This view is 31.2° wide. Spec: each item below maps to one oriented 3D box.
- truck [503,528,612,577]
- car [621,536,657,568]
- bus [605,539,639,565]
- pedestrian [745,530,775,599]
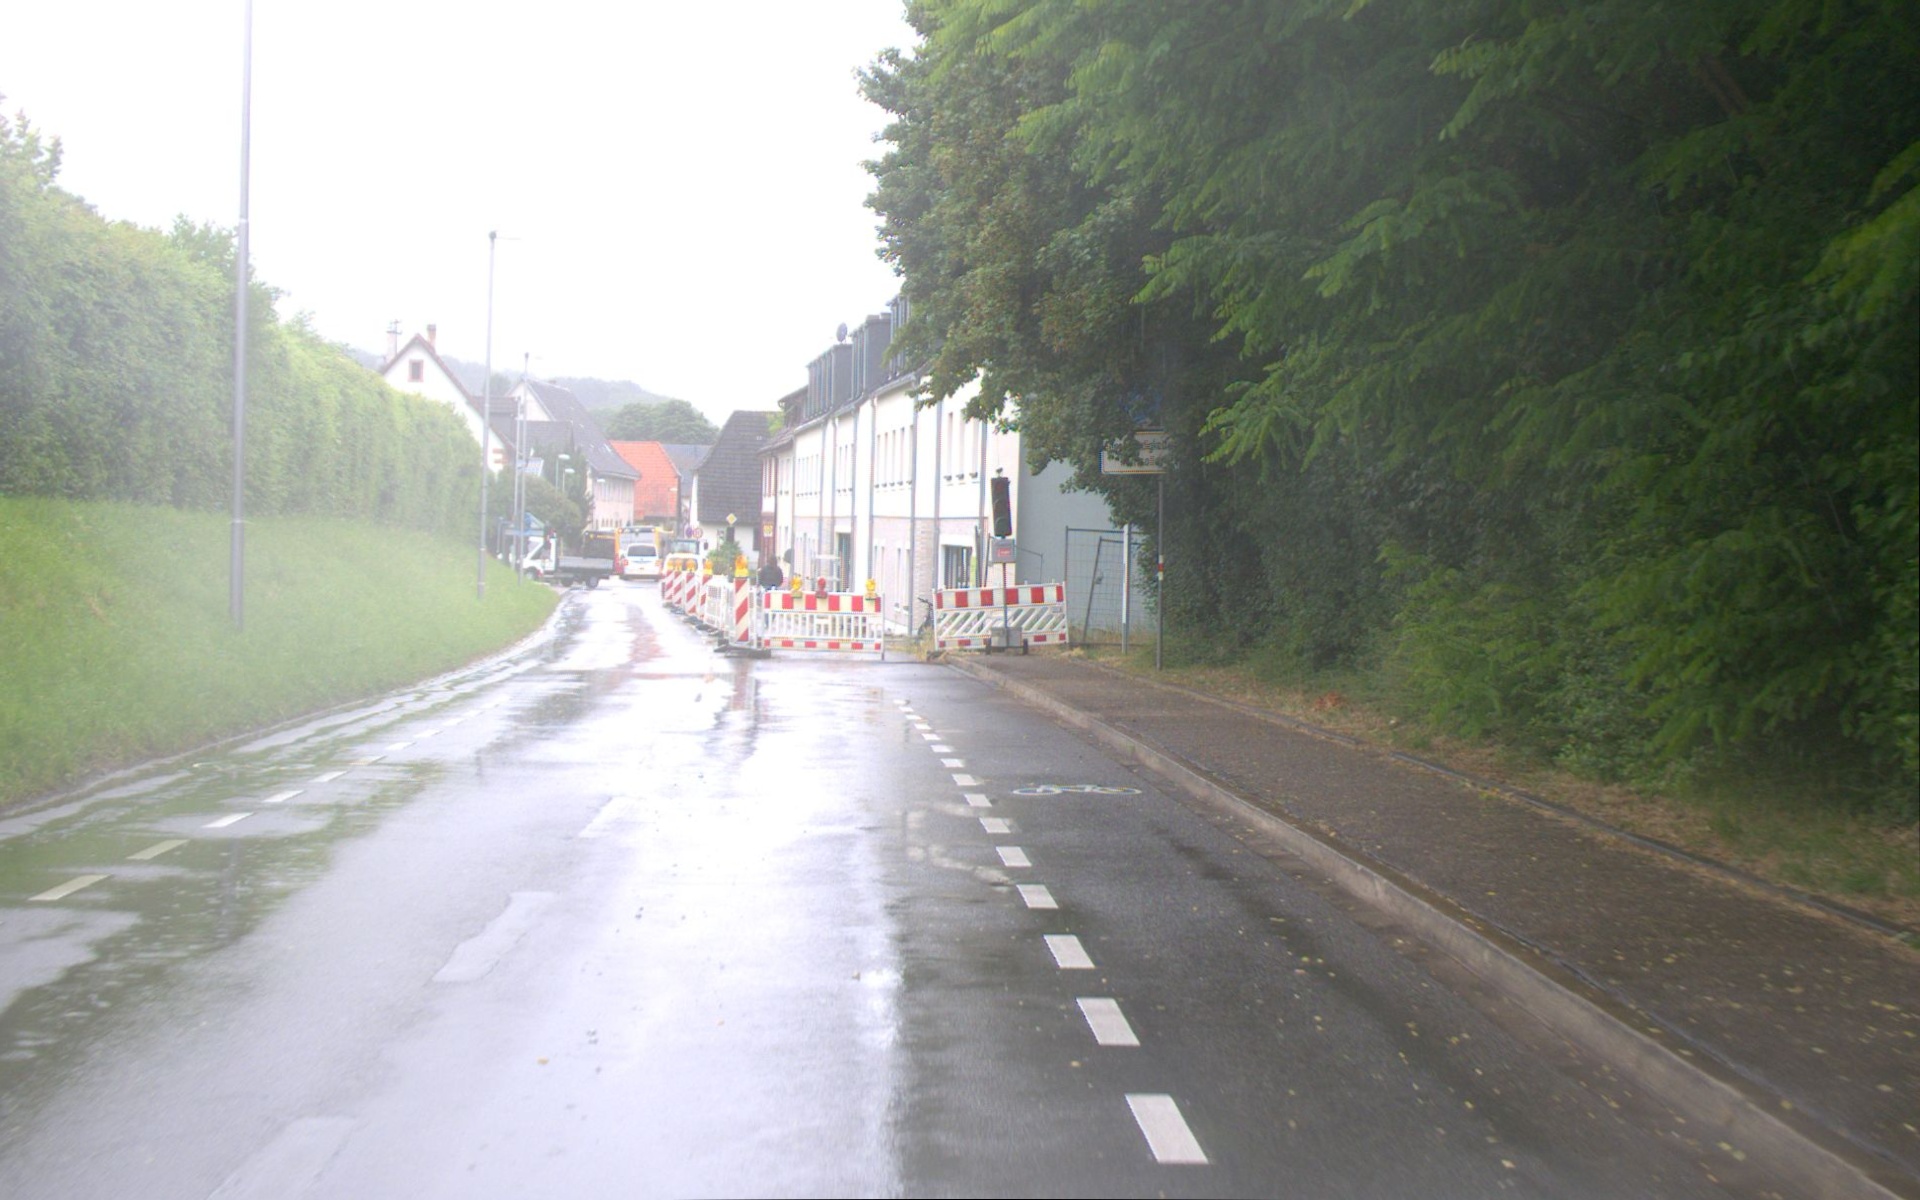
[{"bbox_3d":[-18.608,-2.201,158.733,4.887,2.006,2.001,2,2,-8],"label":"truck"},{"bbox_3d":[-17.018,-2.530,182.217,1.818,1.636,4.096,-1,1,-6],"label":"car"},{"bbox_3d":[-19.683,-2.804,200.363,1.794,1.405,4.001,3,0,-3],"label":"bus"},{"bbox_3d":[-5.181,-0.922,89.037,0.665,1.749,0.812,-1,1,-10],"label":"pedestrian"}]
